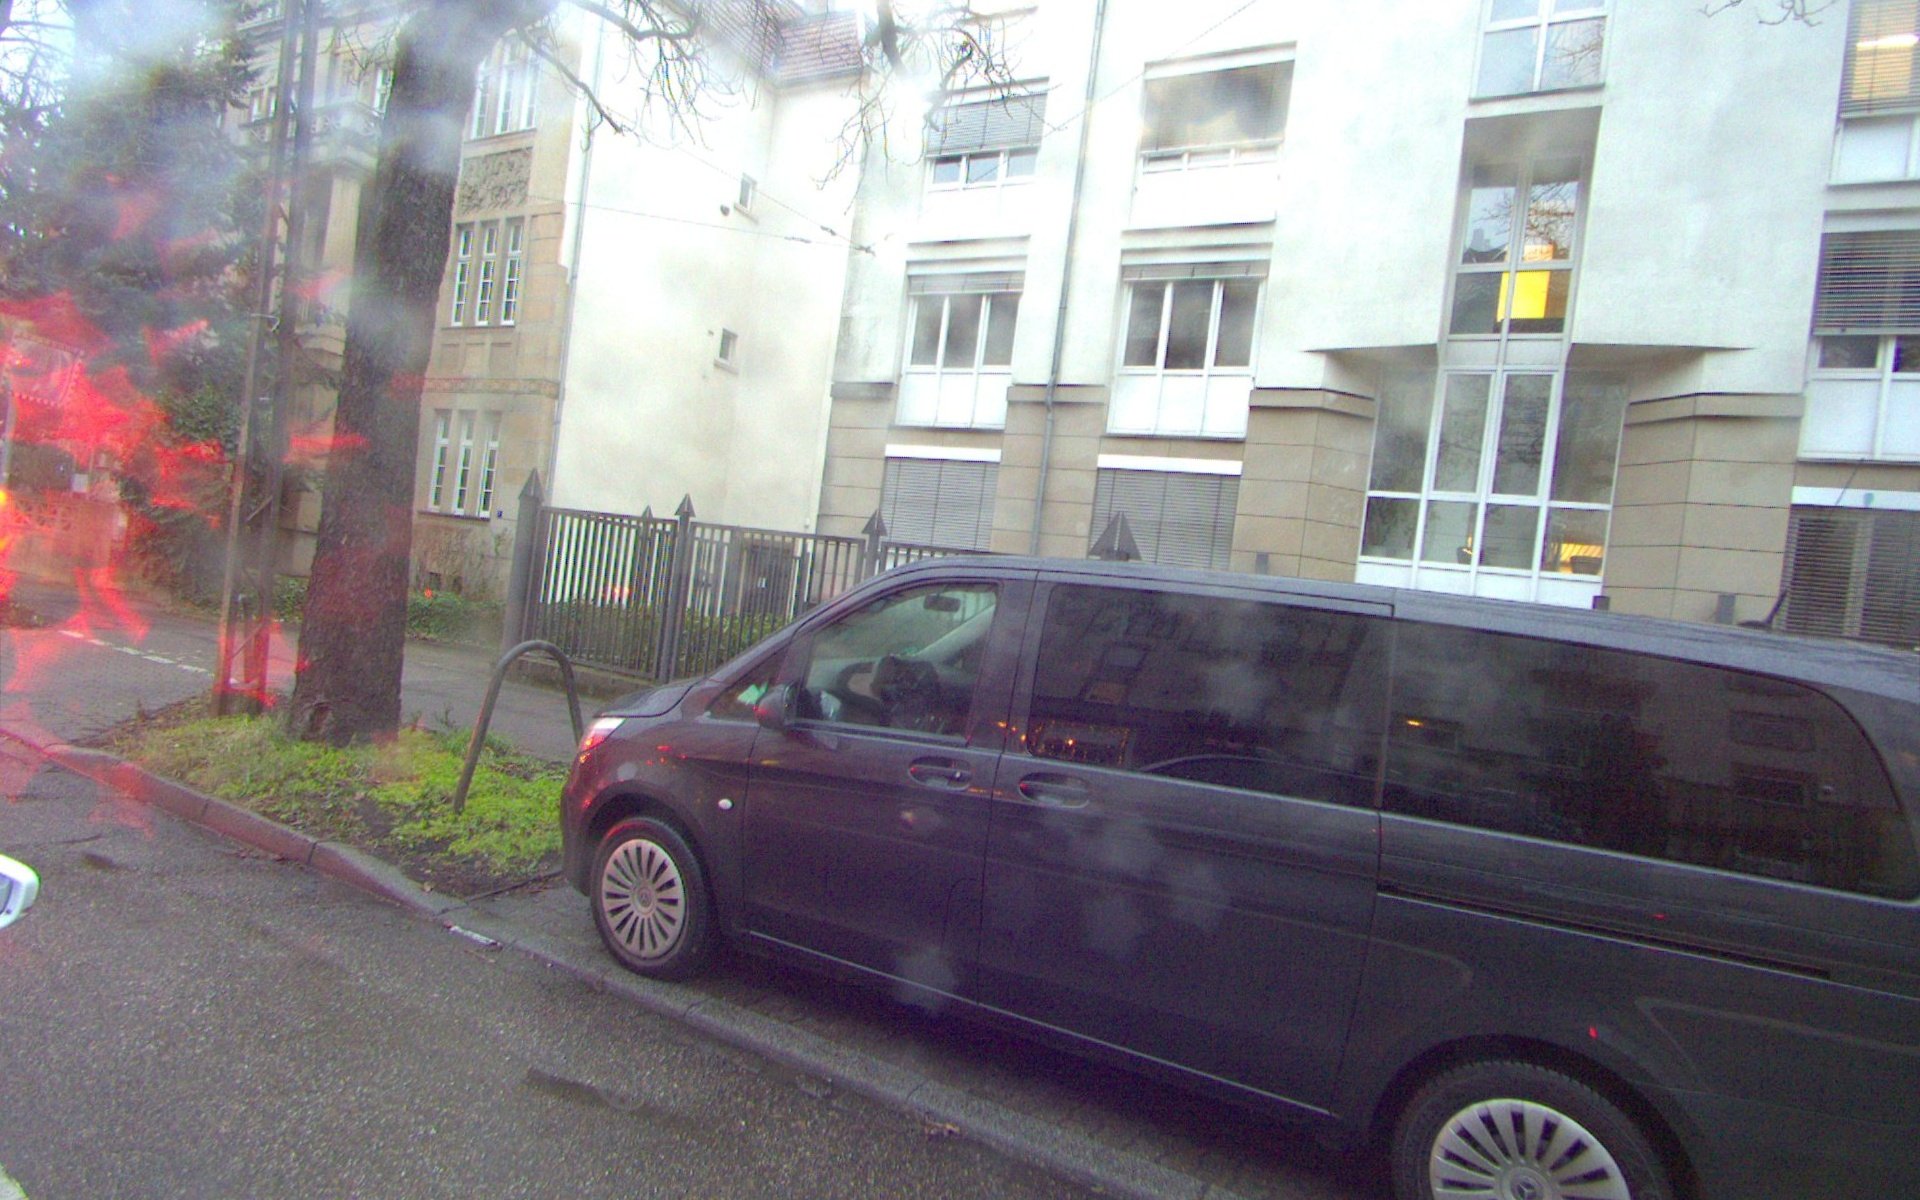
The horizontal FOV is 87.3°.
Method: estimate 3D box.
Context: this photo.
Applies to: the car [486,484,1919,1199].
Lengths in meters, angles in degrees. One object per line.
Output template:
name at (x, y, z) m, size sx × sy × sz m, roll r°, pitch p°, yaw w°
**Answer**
car at (0.681, 0.785, 4.049) m, size 4.877 × 1.899 × 2.034 m, roll 7°, pitch 0°, yaw 28°
